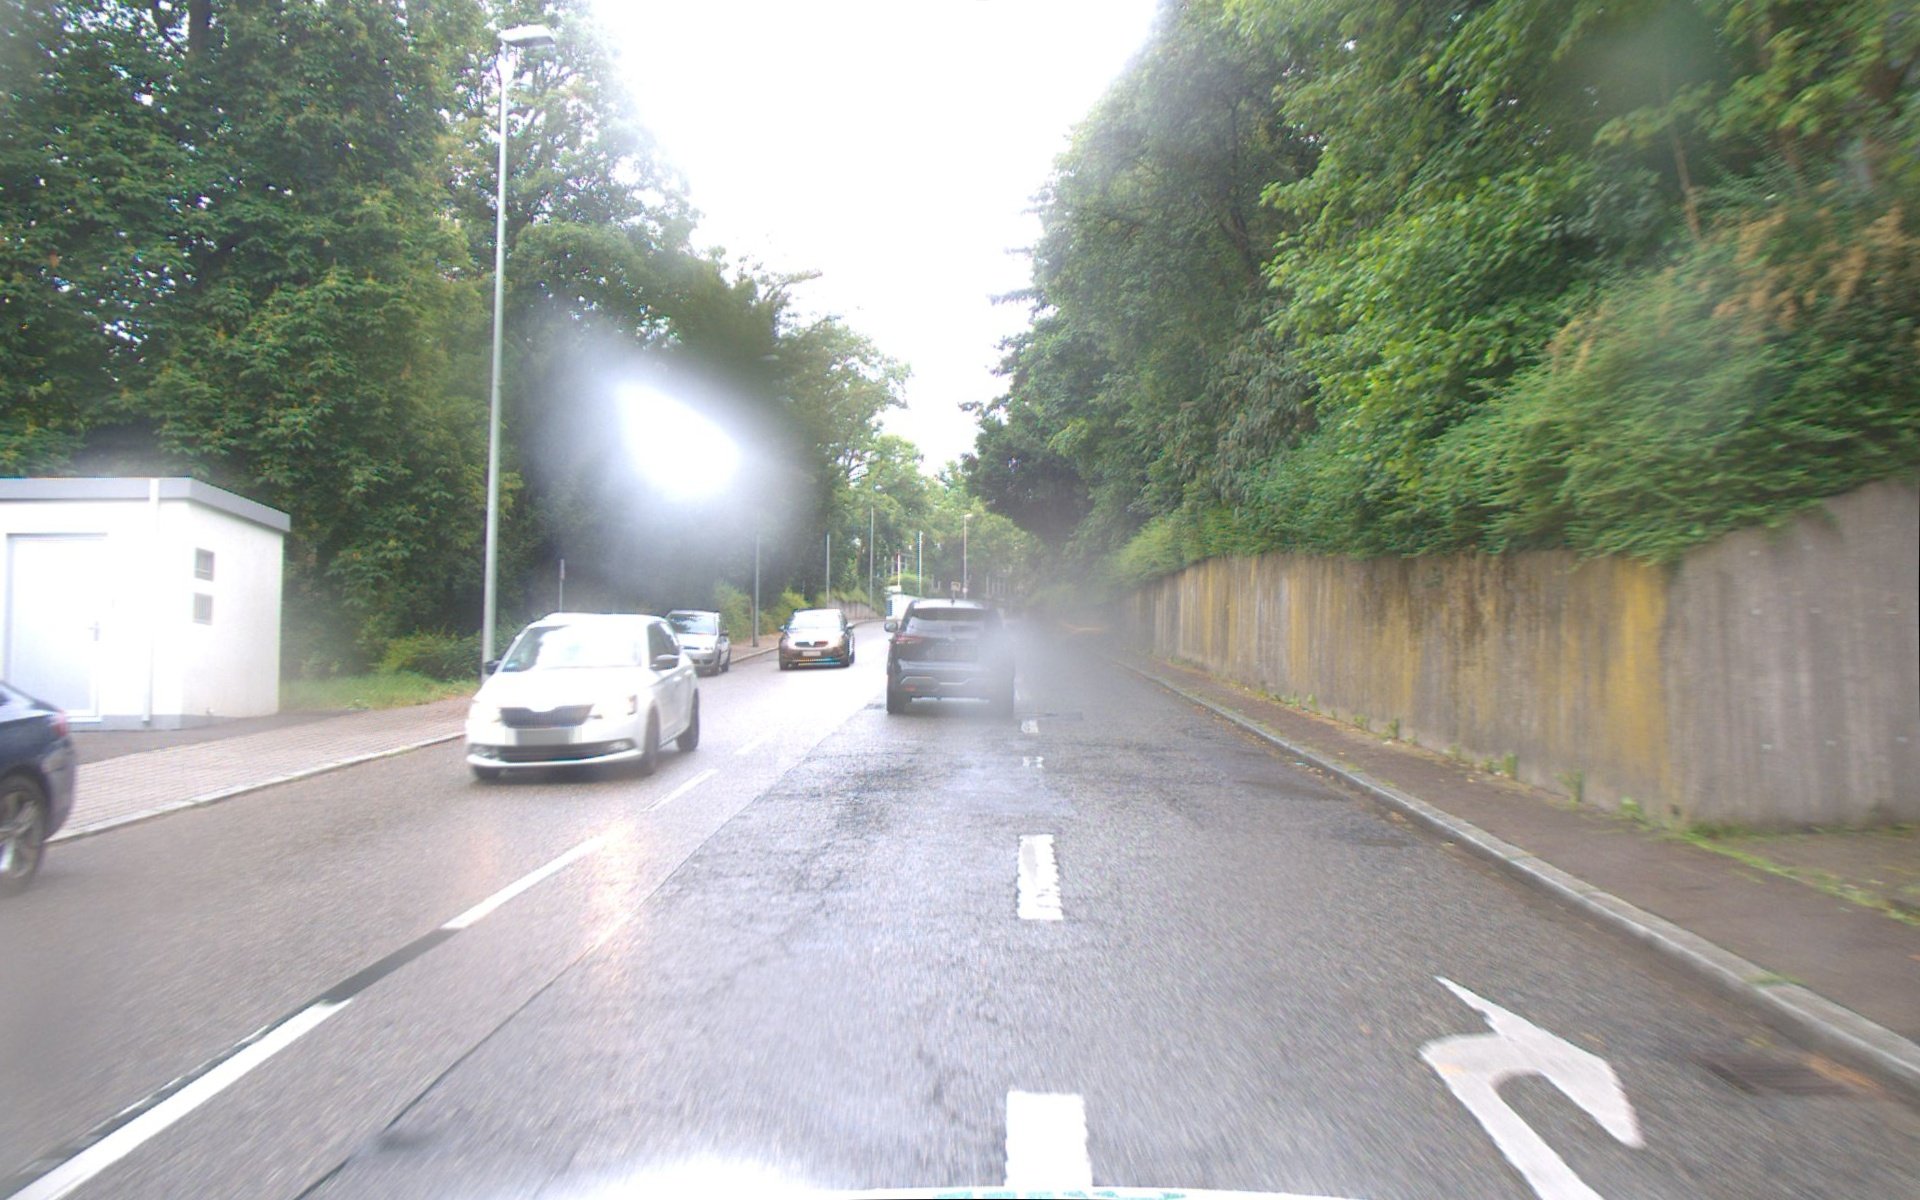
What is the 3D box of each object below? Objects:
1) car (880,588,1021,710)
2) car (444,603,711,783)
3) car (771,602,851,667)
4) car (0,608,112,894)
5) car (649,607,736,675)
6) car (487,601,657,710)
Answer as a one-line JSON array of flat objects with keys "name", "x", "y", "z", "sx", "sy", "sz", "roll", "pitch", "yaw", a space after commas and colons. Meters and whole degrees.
[{"name": "car", "x": -0.144, "y": 0.675, "z": 24.347, "sx": 1.889, "sy": 1.641, "sz": 3.999, "roll": 0, "pitch": 0, "yaw": -1}, {"name": "car", "x": -3.591, "y": 0.805, "z": 16.197, "sx": 1.689, "sy": 1.460, "sz": 3.911, "roll": -3, "pitch": 0, "yaw": -1}, {"name": "car", "x": -3.770, "y": 0.852, "z": 42.329, "sx": 1.725, "sy": 1.517, "sz": 3.999, "roll": -2, "pitch": 0, "yaw": -1}, {"name": "car", "x": -6.040, "y": 0.865, "z": 7.587, "sx": 1.822, "sy": 1.519, "sz": 4.754, "roll": -4, "pitch": 0, "yaw": -1}, {"name": "car", "x": -6.431, "y": 0.951, "z": 40.115, "sx": 1.593, "sy": 1.525, "sz": 3.926, "roll": 2, "pitch": 0, "yaw": -3}, {"name": "car", "x": -6.539, "y": 0.886, "z": 28.352, "sx": 1.848, "sy": 1.640, "sz": 4.239, "roll": -3, "pitch": 0, "yaw": 0}]
